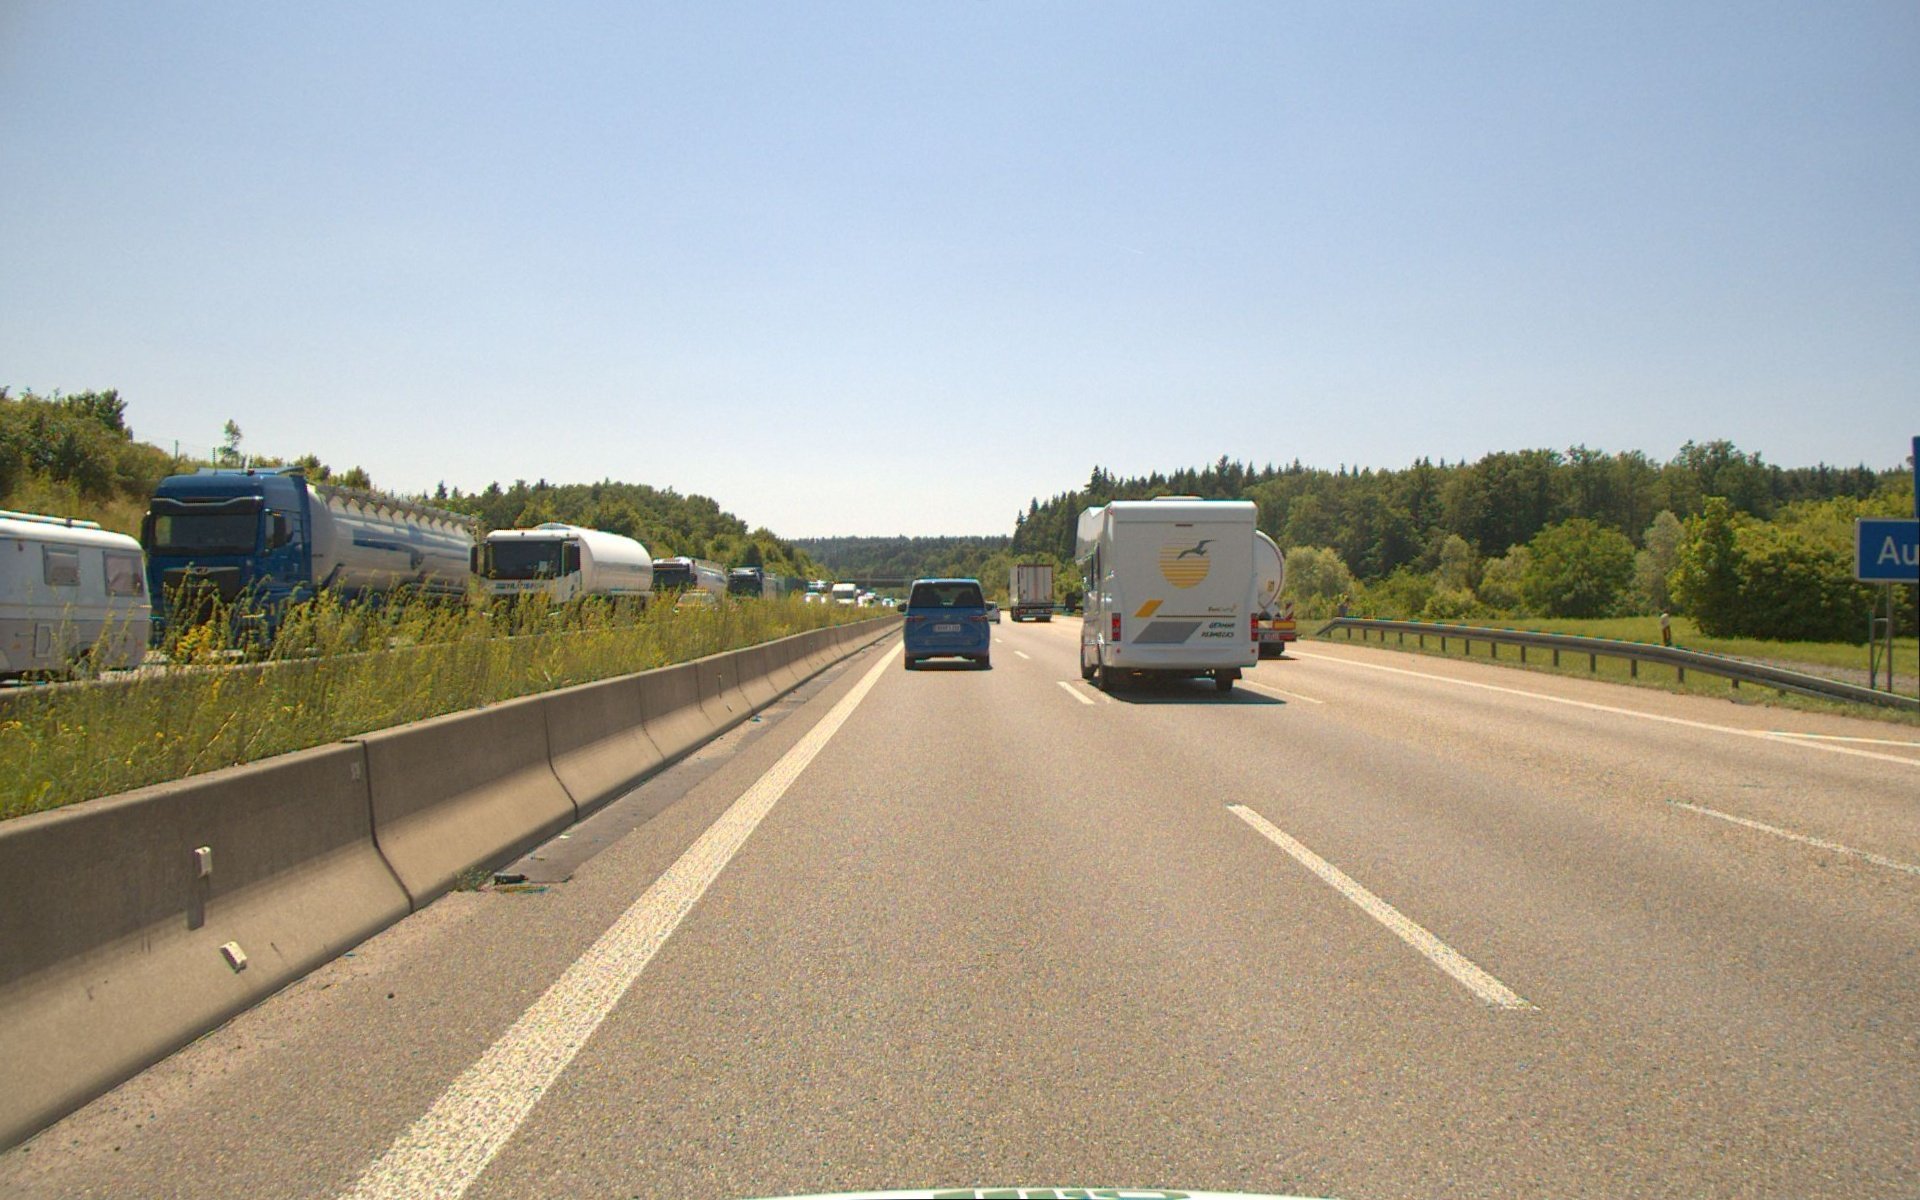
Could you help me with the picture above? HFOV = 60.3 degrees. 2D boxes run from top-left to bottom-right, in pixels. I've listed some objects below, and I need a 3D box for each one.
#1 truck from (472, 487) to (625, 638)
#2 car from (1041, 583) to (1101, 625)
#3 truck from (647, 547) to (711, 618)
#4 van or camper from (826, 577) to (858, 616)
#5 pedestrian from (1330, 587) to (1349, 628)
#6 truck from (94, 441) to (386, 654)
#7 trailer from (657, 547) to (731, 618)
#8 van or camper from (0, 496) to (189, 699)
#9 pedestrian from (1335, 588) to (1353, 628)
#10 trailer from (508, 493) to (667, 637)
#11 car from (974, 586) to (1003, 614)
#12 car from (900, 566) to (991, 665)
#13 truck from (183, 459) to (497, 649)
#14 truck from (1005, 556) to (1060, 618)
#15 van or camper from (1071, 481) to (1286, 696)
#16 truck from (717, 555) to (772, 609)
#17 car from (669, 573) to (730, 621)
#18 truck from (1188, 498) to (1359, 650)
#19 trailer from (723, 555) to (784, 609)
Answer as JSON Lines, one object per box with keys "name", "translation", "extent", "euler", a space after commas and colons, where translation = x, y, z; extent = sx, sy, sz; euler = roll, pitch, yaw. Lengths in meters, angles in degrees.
{"name": "truck", "translation": [-11.516, -0.971, 46.940], "extent": [2.564, 3.958, 7.401], "euler": [0, 0, -1]}
{"name": "car", "translation": [4.017, 0.152, 60.378], "extent": [1.870, 1.501, 3.999], "euler": [0, 0, -1]}
{"name": "truck", "translation": [-16.165, -0.950, 95.627], "extent": [2.638, 3.946, 6.316], "euler": [1, 0, -1]}
{"name": "van or camper", "translation": [-9.375, -0.281, 131.592], "extent": [1.953, 2.927, 7.640], "euler": [2, 0, 0]}
{"name": "pedestrian", "translation": [19.976, 0.389, 87.059], "extent": [0.674, 2.116, 0.928], "euler": [2, -1, 0]}
{"name": "truck", "translation": [-15.466, -1.032, 36.208], "extent": [3.419, 4.107, 6.642], "euler": [2, 0, -1]}
{"name": "trailer", "translation": [-16.361, -0.975, 102.650], "extent": [2.625, 4.019, 13.240], "euler": [2, 0, -2]}
{"name": "van or camper", "translation": [-11.365, -0.007, 19.984], "extent": [1.953, 2.191, 4.716], "euler": [0, 0, -1]}
{"name": "pedestrian", "translation": [20.749, 0.430, 89.388], "extent": [0.674, 2.116, 0.928], "euler": [2, -1, 0]}
{"name": "trailer", "translation": [-11.661, -0.922, 53.014], "extent": [2.625, 4.019, 11.641], "euler": [-2, -1, -2]}
{"name": "car", "translation": [1.943, 0.033, 113.617], "extent": [1.781, 1.825, 3.893], "euler": [2, 0, -1]}
{"name": "car", "translation": [-0.322, 0.343, 36.707], "extent": [1.870, 2.049, 3.999], "euler": [1, 0, -1]}
{"name": "truck", "translation": [-15.544, -1.065, 43.065], "extent": [3.505, 4.165, 12.577], "euler": [1, 0, -1]}
{"name": "truck", "translation": [5.266, -0.923, 121.366], "extent": [3.416, 4.243, 8.640], "euler": [2, 0, -1]}
{"name": "van or camper", "translation": [3.432, -0.185, 27.726], "extent": [2.550, 3.132, 7.181], "euler": [0, 0, -1]}
{"name": "truck", "translation": [-16.443, -1.331, 126.559], "extent": [3.384, 3.944, 5.444], "euler": [2, 0, 0]}
{"name": "car", "translation": [-12.070, -0.134, 76.906], "extent": [2.043, 2.099, 5.058], "euler": [1, 0, -1]}
{"name": "truck", "translation": [8.101, -0.690, 43.930], "extent": [2.868, 3.637, 8.526], "euler": [0, 1, 0]}
{"name": "trailer", "translation": [-16.490, -1.424, 132.903], "extent": [3.505, 4.165, 11.536], "euler": [0, 0, -1]}
